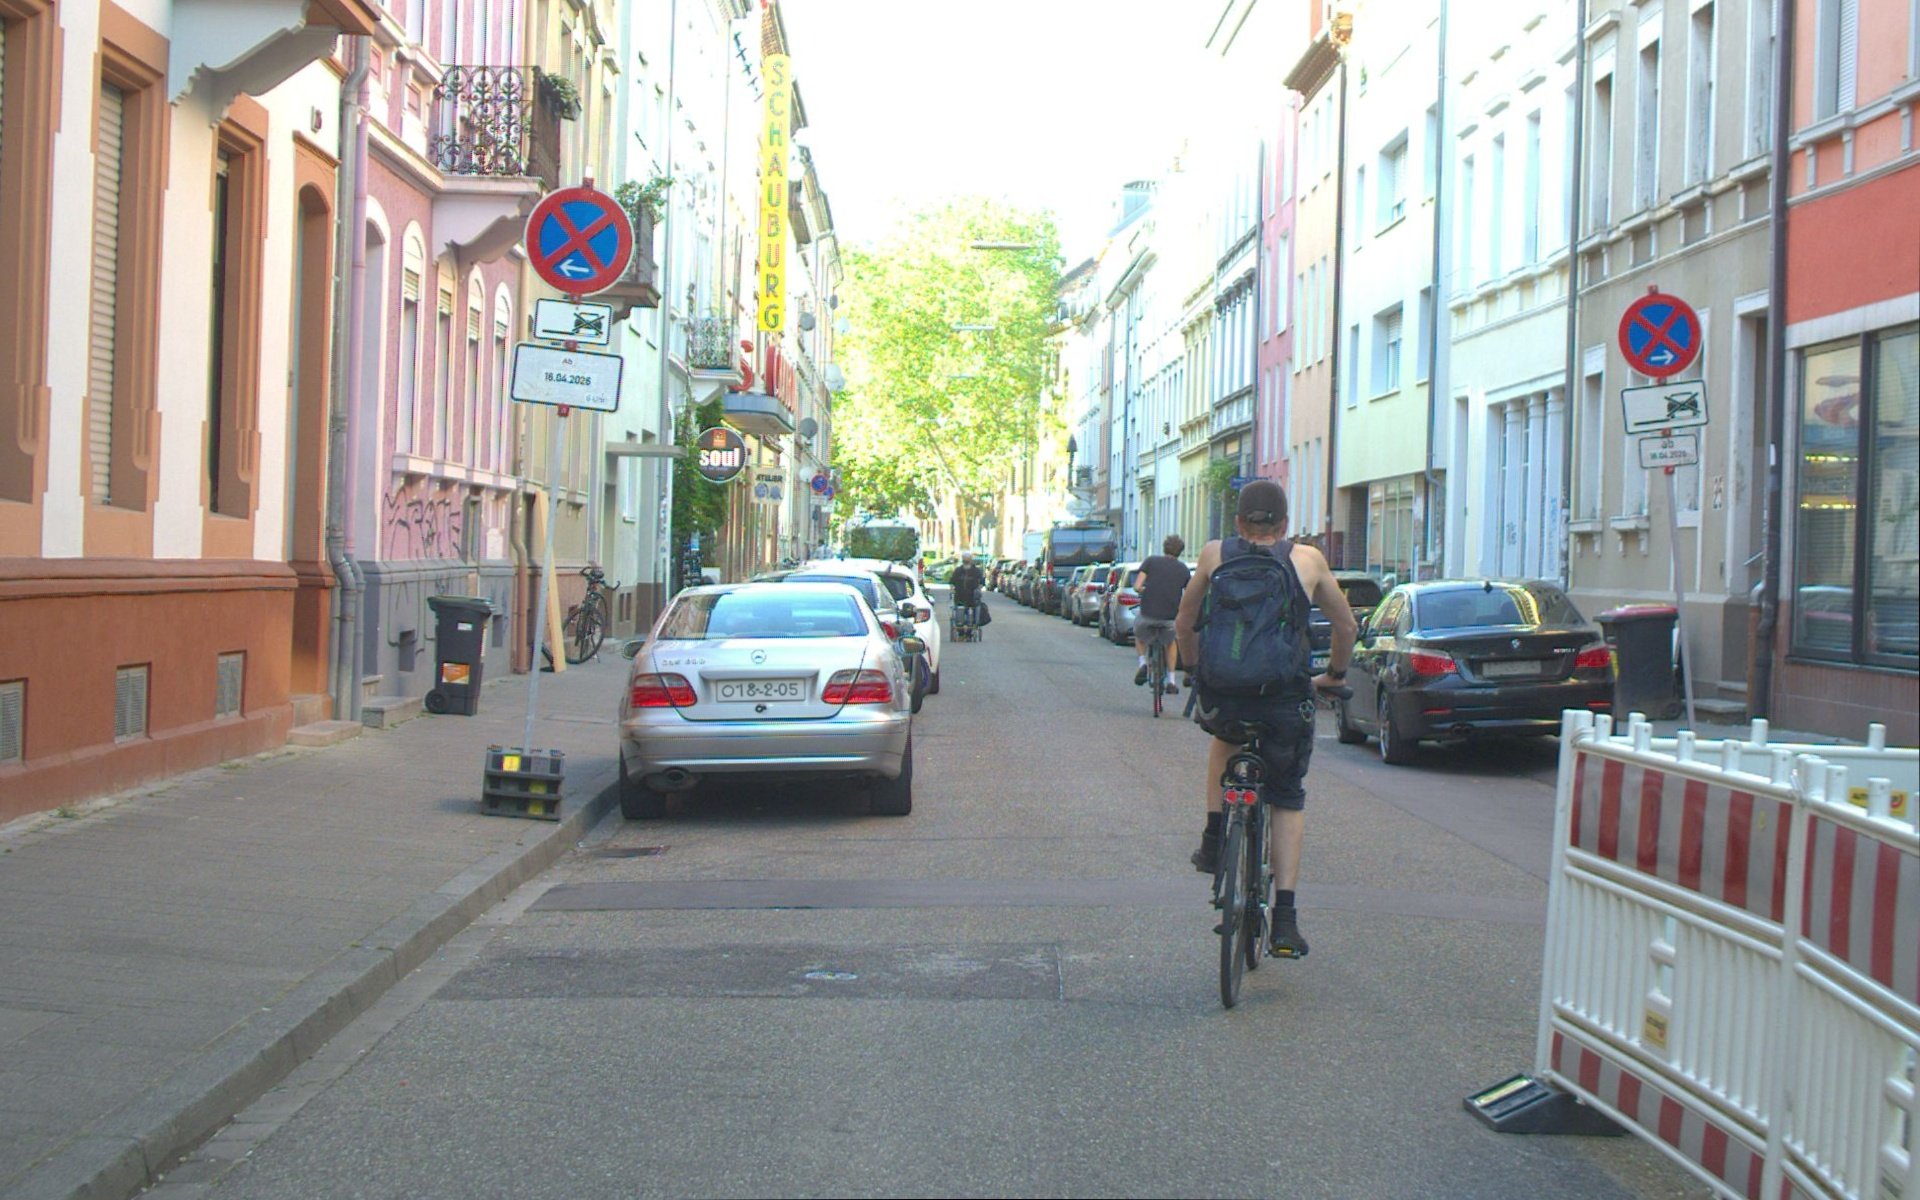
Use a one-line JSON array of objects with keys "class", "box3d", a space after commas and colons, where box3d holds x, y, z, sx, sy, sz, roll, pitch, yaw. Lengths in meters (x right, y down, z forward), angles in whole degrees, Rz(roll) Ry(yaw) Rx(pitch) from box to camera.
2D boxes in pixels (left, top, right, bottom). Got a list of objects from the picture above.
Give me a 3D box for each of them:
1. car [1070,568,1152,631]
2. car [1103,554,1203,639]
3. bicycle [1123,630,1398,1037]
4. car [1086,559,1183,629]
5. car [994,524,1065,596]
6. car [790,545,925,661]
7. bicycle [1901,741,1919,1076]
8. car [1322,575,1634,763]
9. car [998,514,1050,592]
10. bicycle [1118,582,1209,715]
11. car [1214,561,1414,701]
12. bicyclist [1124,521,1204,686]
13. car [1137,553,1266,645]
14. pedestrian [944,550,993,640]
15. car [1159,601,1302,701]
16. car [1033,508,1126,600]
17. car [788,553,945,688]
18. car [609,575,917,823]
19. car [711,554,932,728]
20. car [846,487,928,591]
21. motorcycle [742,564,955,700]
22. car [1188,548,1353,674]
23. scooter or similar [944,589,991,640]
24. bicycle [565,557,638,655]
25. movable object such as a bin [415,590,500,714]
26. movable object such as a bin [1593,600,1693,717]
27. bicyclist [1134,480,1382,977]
[{"class": "car", "box3d": [3.575, -0.024, 82.024, 1.710, 1.442, 4.000, 0, 0, -1]}, {"class": "car", "box3d": [3.624, -0.078, 65.092, 1.620, 1.545, 4.000, 0, 0, -1]}, {"class": "bicycle", "box3d": [1.010, 0.755, 12.110, 0.702, 1.204, 2.342, 2, 1, -1]}, {"class": "car", "box3d": [3.546, -0.138, 70.382, 1.710, 1.389, 4.000, 0, 0, -1]}, {"class": "car", "box3d": [2.447, -1.409, 123.012, 2.307, 2.529, 6.770, 0, 0, -1]}, {"class": "car", "box3d": [-1.298, 0.030, 44.537, 1.672, 1.437, 3.768, 0, 0, -1]}, {"class": "bicycle", "box3d": [3.958, 0.984, 10.646, 1.849, 1.106, 0.644, 3, 0, -7]}, {"class": "car", "box3d": [4.220, 0.515, 28.724, 1.817, 1.433, 4.791, 0, 0, -1]}, {"class": "car", "box3d": [3.148, -2.304, 170.395, 2.307, 3.755, 6.770, 0, 0, -1]}, {"class": "bicycle", "box3d": [2.007, 0.464, 34.192, 0.702, 1.203, 2.342, 1, 2, -1]}, {"class": "car", "box3d": [3.988, 0.326, 39.265, 1.817, 1.516, 4.000, 0, 0, -1]}, {"class": "bicyclist", "box3d": [2.012, 0.027, 34.031, 0.702, 1.599, 0.813, 1, 2, -1]}, {"class": "car", "box3d": [3.864, -0.032, 55.523, 1.710, 1.378, 4.000, 2, 0, -1]}, {"class": "pedestrian", "box3d": [0.142, -0.090, 61.773, 0.770, 1.573, 0.900, 3, 0, -1]}, {"class": "car", "box3d": [3.905, 0.713, 50.072, 1.710, 1.378, 4.000, 0, 0, -1]}, {"class": "car", "box3d": [3.351, -1.279, 97.490, 2.307, 2.529, 6.770, 0, 0, -1]}, {"class": "car", "box3d": [-1.029, 0.210, 38.779, 1.672, 1.437, 4.165, 0, 0, -1]}, {"class": "car", "box3d": [-1.131, 0.536, 21.389, 1.710, 1.378, 4.506, 0, 0, -1]}, {"class": "car", "box3d": [-1.207, 0.324, 31.728, 1.710, 1.378, 4.356, 2, 2, 1]}, {"class": "car", "box3d": [-1.850, -1.521, 86.170, 1.909, 2.488, 4.166, 1, 1, -3]}, {"class": "motorcycle", "box3d": [-1.161, 0.325, 35.896, 2.146, 1.354, 0.540, -1, 1, -18]}, {"class": "car", "box3d": [3.965, 0.127, 44.389, 1.710, 1.551, 4.000, 0, 0, -1]}, {"class": "scooter or similar", "box3d": [0.129, 0.258, 61.410, 0.770, 0.870, 0.771, 3, 0, -1]}, {"class": "bicycle", "box3d": [-4.179, 0.060, 40.210, 0.592, 1.085, 2.079, 3, 0, 0]}, {"class": "movable object such as a bin", "box3d": [-3.960, 0.406, 27.110, 0.543, 0.941, 0.487, 3, 0, 0]}, {"class": "movable object such as a bin", "box3d": [6.423, 0.542, 32.361, 0.736, 1.072, 0.677, -1, 0, -7]}, {"class": "bicyclist", "box3d": [1.016, 0.417, 11.948, 0.702, 1.627, 1.090, 2, 1, -1]}]
